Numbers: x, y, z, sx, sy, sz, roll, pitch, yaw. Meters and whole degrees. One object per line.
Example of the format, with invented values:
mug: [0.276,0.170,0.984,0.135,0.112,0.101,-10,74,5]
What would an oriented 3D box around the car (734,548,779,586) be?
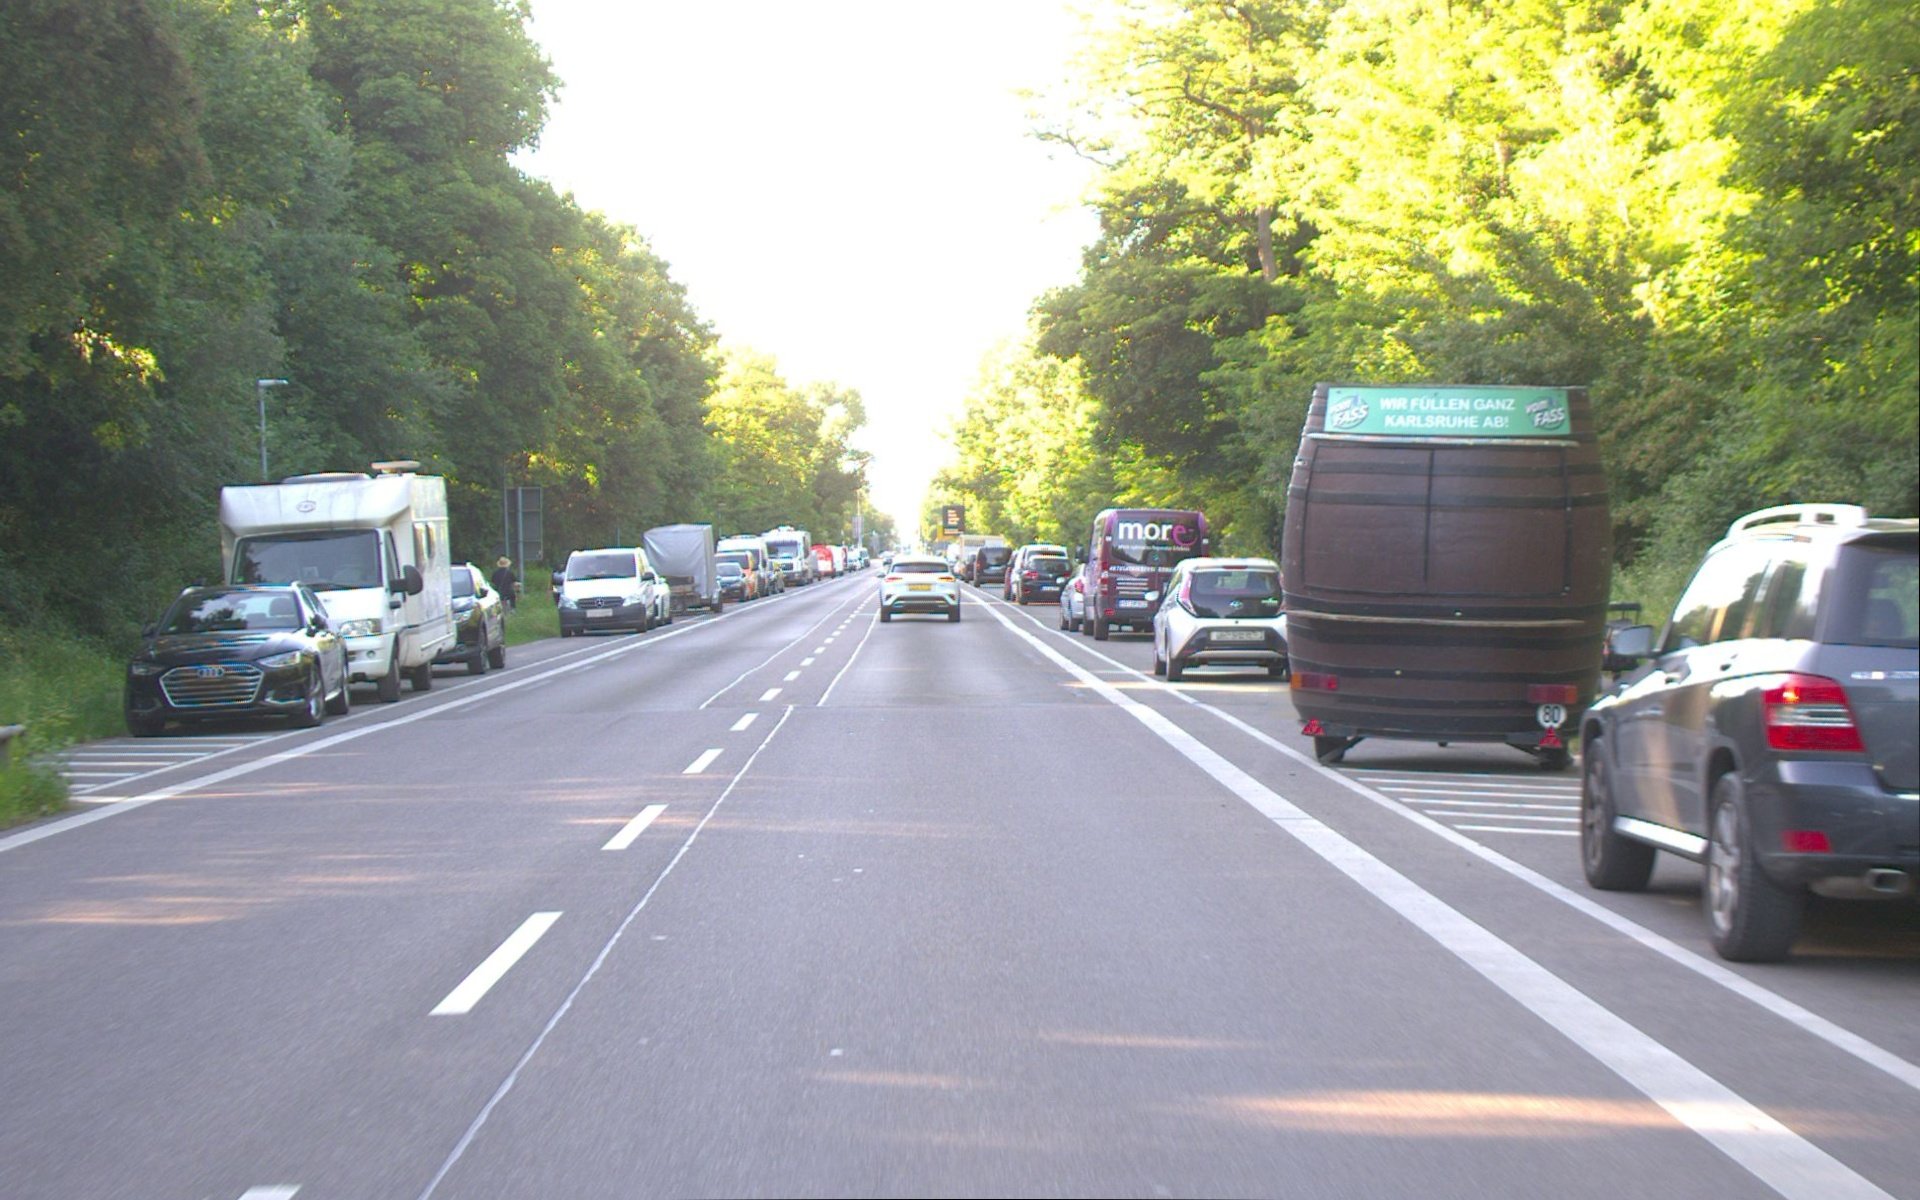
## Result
car: [-9.200,-1.493,155.971,1.781,1.678,4.378,-1,1,0]

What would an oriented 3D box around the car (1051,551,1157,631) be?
car: [2.888,-0.205,69.697,1.747,1.510,4.001,-2,1,-3]

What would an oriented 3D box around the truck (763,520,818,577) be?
truck: [-9.407,-2.850,191.861,2.707,3.083,7.989,-1,1,0]

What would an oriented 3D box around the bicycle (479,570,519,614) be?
bicycle: [-10.935,-0.197,81.561,0.651,1.005,2.396,-1,1,-1]

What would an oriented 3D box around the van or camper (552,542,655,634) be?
van or camper: [-7.877,-0.300,76.297,1.835,1.905,4.856,-2,1,-1]

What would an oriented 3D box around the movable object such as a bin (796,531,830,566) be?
movable object such as a bin: [-10.727,-3.769,251.182,2.322,2.493,4.000,-1,1,-1]

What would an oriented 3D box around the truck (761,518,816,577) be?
truck: [-10.097,-3.097,203.352,2.707,3.336,10.924,-1,1,0]

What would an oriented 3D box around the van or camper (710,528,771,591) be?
van or camper: [-9.232,-1.714,144.999,2.121,2.563,6.542,-2,1,0]

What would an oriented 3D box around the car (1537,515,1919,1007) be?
car: [3.585,0.518,13.944,1.712,1.659,4.551,1,1,0]

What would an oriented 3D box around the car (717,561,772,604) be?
car: [-7.885,-0.662,126.012,1.731,1.473,4.324,-3,1,0]

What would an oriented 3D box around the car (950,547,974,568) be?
car: [0.120,-3.017,243.854,1.656,1.473,3.754,-1,1,-1]

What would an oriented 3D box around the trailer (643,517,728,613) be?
trailer: [-7.871,-1.025,99.086,1.993,2.588,4.416,-3,1,0]

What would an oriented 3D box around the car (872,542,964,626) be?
car: [-0.952,-0.386,78.765,2.028,1.834,4.029,-1,1,0]

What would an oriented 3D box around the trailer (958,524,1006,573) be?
trailer: [1.295,-3.113,207.911,2.757,2.860,6.589,-1,1,-1]

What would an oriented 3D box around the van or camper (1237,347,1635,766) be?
van or camper: [3.847,-0.359,26.565,2.442,2.790,6.553,-1,1,13]

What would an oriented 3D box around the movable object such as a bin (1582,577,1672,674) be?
movable object such as a bin: [7.414,0.276,38.262,0.789,1.043,0.987,-1,1,-1]

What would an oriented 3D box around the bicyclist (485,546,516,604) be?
bicyclist: [-10.921,-0.594,81.724,0.604,1.369,0.799,-1,1,0]

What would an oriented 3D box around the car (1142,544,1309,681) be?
car: [3.176,0.115,41.798,1.712,1.540,4.022,1,1,0]

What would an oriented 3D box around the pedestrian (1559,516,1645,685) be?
pedestrian: [7.364,-0.002,39.461,0.768,1.911,0.920,-1,1,-1]

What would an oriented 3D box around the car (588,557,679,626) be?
car: [-7.853,-0.220,83.004,1.774,1.535,4.525,-3,1,-1]

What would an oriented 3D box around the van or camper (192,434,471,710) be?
van or camper: [-7.542,-0.367,42.053,2.314,2.960,7.112,-3,1,-3]

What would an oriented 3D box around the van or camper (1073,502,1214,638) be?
van or camper: [3.296,-0.582,62.948,2.035,2.304,6.041,-2,1,-1]

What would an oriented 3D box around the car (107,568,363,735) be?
car: [-7.261,0.465,34.844,1.827,1.471,4.682,-2,1,-4]

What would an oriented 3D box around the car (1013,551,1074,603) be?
car: [2.486,-0.701,103.033,1.690,1.519,4.149,0,1,-1]

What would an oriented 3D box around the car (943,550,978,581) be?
car: [0.003,-1.862,185.914,1.841,1.656,4.000,-1,1,0]

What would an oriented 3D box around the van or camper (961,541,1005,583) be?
van or camper: [1.073,-1.813,162.940,1.993,1.925,5.199,0,1,-1]

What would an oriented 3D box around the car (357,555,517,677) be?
car: [-7.629,0.193,50.482,1.646,1.626,4.274,-3,1,0]

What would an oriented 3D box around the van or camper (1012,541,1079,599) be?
van or camper: [2.706,-0.967,109.676,1.951,1.809,4.381,-1,1,-1]
